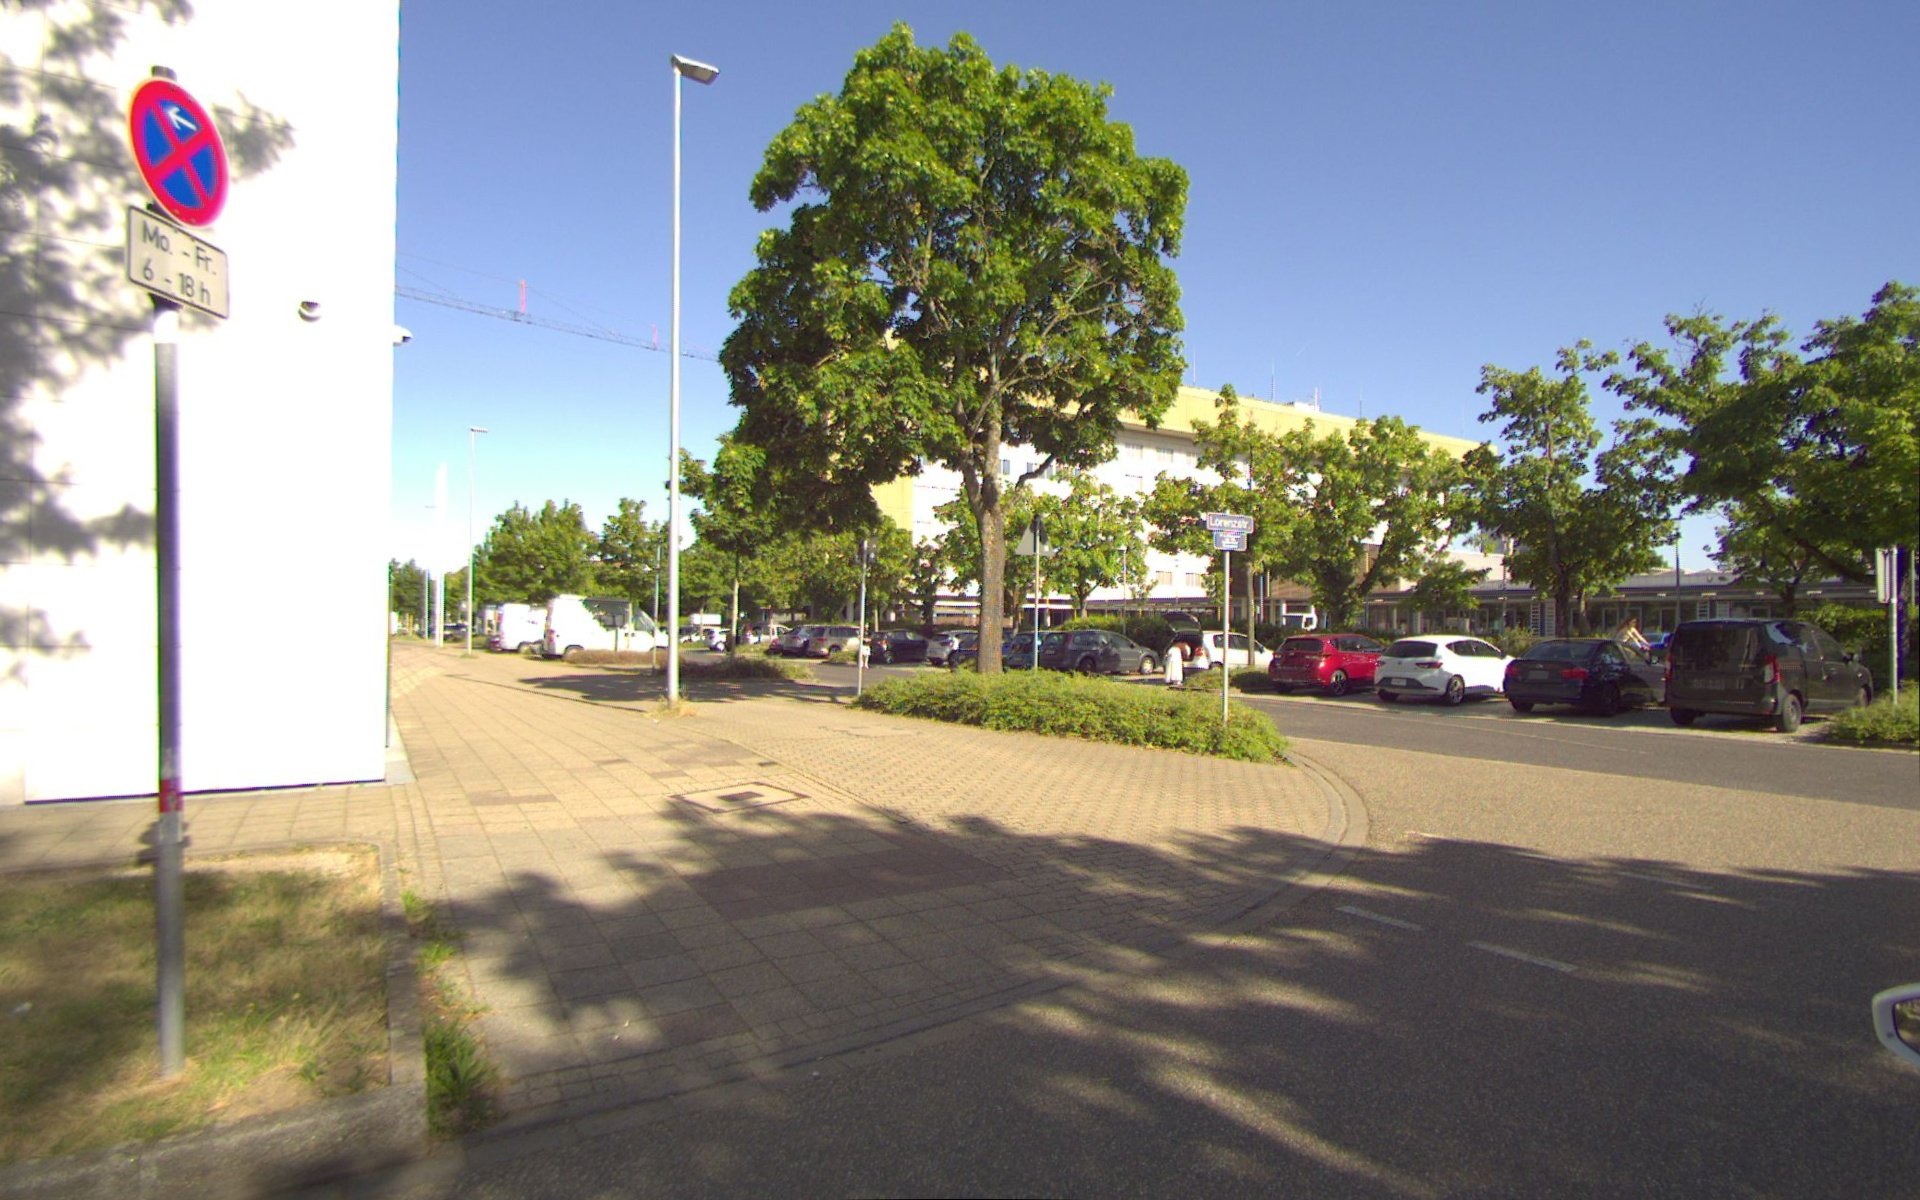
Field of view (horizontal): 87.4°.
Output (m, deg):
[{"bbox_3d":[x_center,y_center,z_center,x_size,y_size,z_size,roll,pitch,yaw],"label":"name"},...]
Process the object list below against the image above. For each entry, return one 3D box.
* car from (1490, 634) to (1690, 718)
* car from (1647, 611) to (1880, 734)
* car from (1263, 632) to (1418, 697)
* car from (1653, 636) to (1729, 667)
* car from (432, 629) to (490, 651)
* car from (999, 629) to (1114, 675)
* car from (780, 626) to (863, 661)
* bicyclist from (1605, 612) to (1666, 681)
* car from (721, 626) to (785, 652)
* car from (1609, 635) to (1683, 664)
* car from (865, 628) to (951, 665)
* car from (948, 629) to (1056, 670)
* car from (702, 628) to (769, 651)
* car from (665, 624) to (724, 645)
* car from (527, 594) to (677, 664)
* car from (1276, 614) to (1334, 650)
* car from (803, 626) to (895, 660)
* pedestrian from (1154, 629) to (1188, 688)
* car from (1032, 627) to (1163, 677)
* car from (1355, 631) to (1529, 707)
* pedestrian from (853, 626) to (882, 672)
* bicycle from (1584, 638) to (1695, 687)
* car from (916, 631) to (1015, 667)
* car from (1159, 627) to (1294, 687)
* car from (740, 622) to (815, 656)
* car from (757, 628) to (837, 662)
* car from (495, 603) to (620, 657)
[{"bbox_3d":[12.529,1.421,19.914,4.124,1.424,1.813,0,-1,-33],"label":"car"},{"bbox_3d":[13.961,1.157,17.411,4.121,1.871,1.864,0,-1,-32],"label":"car"},{"bbox_3d":[9.466,1.543,24.900,3.870,1.445,1.657,1,-1,-33],"label":"car"},{"bbox_3d":[38.434,2.677,52.802,3.861,1.517,1.828,1,-1,-30],"label":"car"},{"bbox_3d":[-45.529,3.669,91.723,4.584,1.790,1.972,3,-3,-30],"label":"car"},{"bbox_3d":[3.411,1.773,35.160,3.870,1.487,1.606,1,0,-33],"label":"car"},{"bbox_3d":[-7.240,2.273,52.635,3.870,1.718,1.922,1,0,-33],"label":"car"},{"bbox_3d":[15.596,1.059,23.210,0.589,1.544,1.007,1,0,-29],"label":"bicyclist"},{"bbox_3d":[-13.108,2.463,63.606,3.579,1.570,1.691,1,0,-33],"label":"car"},{"bbox_3d":[37.281,2.672,54.569,3.861,1.517,1.828,1,-1,-30],"label":"car"},{"bbox_3d":[-2.295,2.031,44.383,3.427,1.508,1.731,0,-2,-33],"label":"car"},{"bbox_3d":[1.637,1.882,39.154,3.861,1.517,1.828,1,-1,-30],"label":"car"},{"bbox_3d":[-15.097,2.662,67.569,4.027,1.444,1.728,0,-2,-30],"label":"car"},{"bbox_3d":[-19.347,2.537,73.278,3.870,1.505,1.728,1,-2,-32],"label":"car"},{"bbox_3d":[-14.136,1.199,39.722,5.205,2.450,2.106,4,-3,-30],"label":"car"},{"bbox_3d":[25.255,2.321,73.572,3.602,2.524,2.216,1,-1,-30],"label":"car"},{"bbox_3d":[-5.572,2.122,50.759,4.291,1.629,1.894,1,-2,-35],"label":"car"},{"bbox_3d":[5.868,1.621,27.967,0.752,1.600,0.673,1,0,-3],"label":"pedestrian"},{"bbox_3d":[4.541,1.663,32.982,4.155,1.540,1.721,1,-1,-33],"label":"car"},{"bbox_3d":[10.787,1.470,22.435,3.870,1.456,1.792,0,0,-33],"label":"car"},{"bbox_3d":[-3.721,1.947,40.324,0.713,1.794,1.158,0,-1,-32],"label":"pedestrian"},{"bbox_3d":[15.619,1.406,23.161,0.589,1.009,2.072,1,0,-30],"label":"bicycle"},{"bbox_3d":[0.242,1.983,41.283,3.700,1.435,1.828,1,-1,-30],"label":"car"},{"bbox_3d":[7.789,1.624,29.269,3.870,1.599,1.664,1,0,-33],"label":"car"},{"bbox_3d":[-11.123,2.347,61.198,4.088,1.953,1.960,1,0,-33],"label":"car"},{"bbox_3d":[-8.908,2.437,54.806,3.870,1.718,1.922,1,0,-33],"label":"car"},{"bbox_3d":[-19.993,1.534,49.943,5.504,2.441,1.972,3,-3,-30],"label":"car"}]
